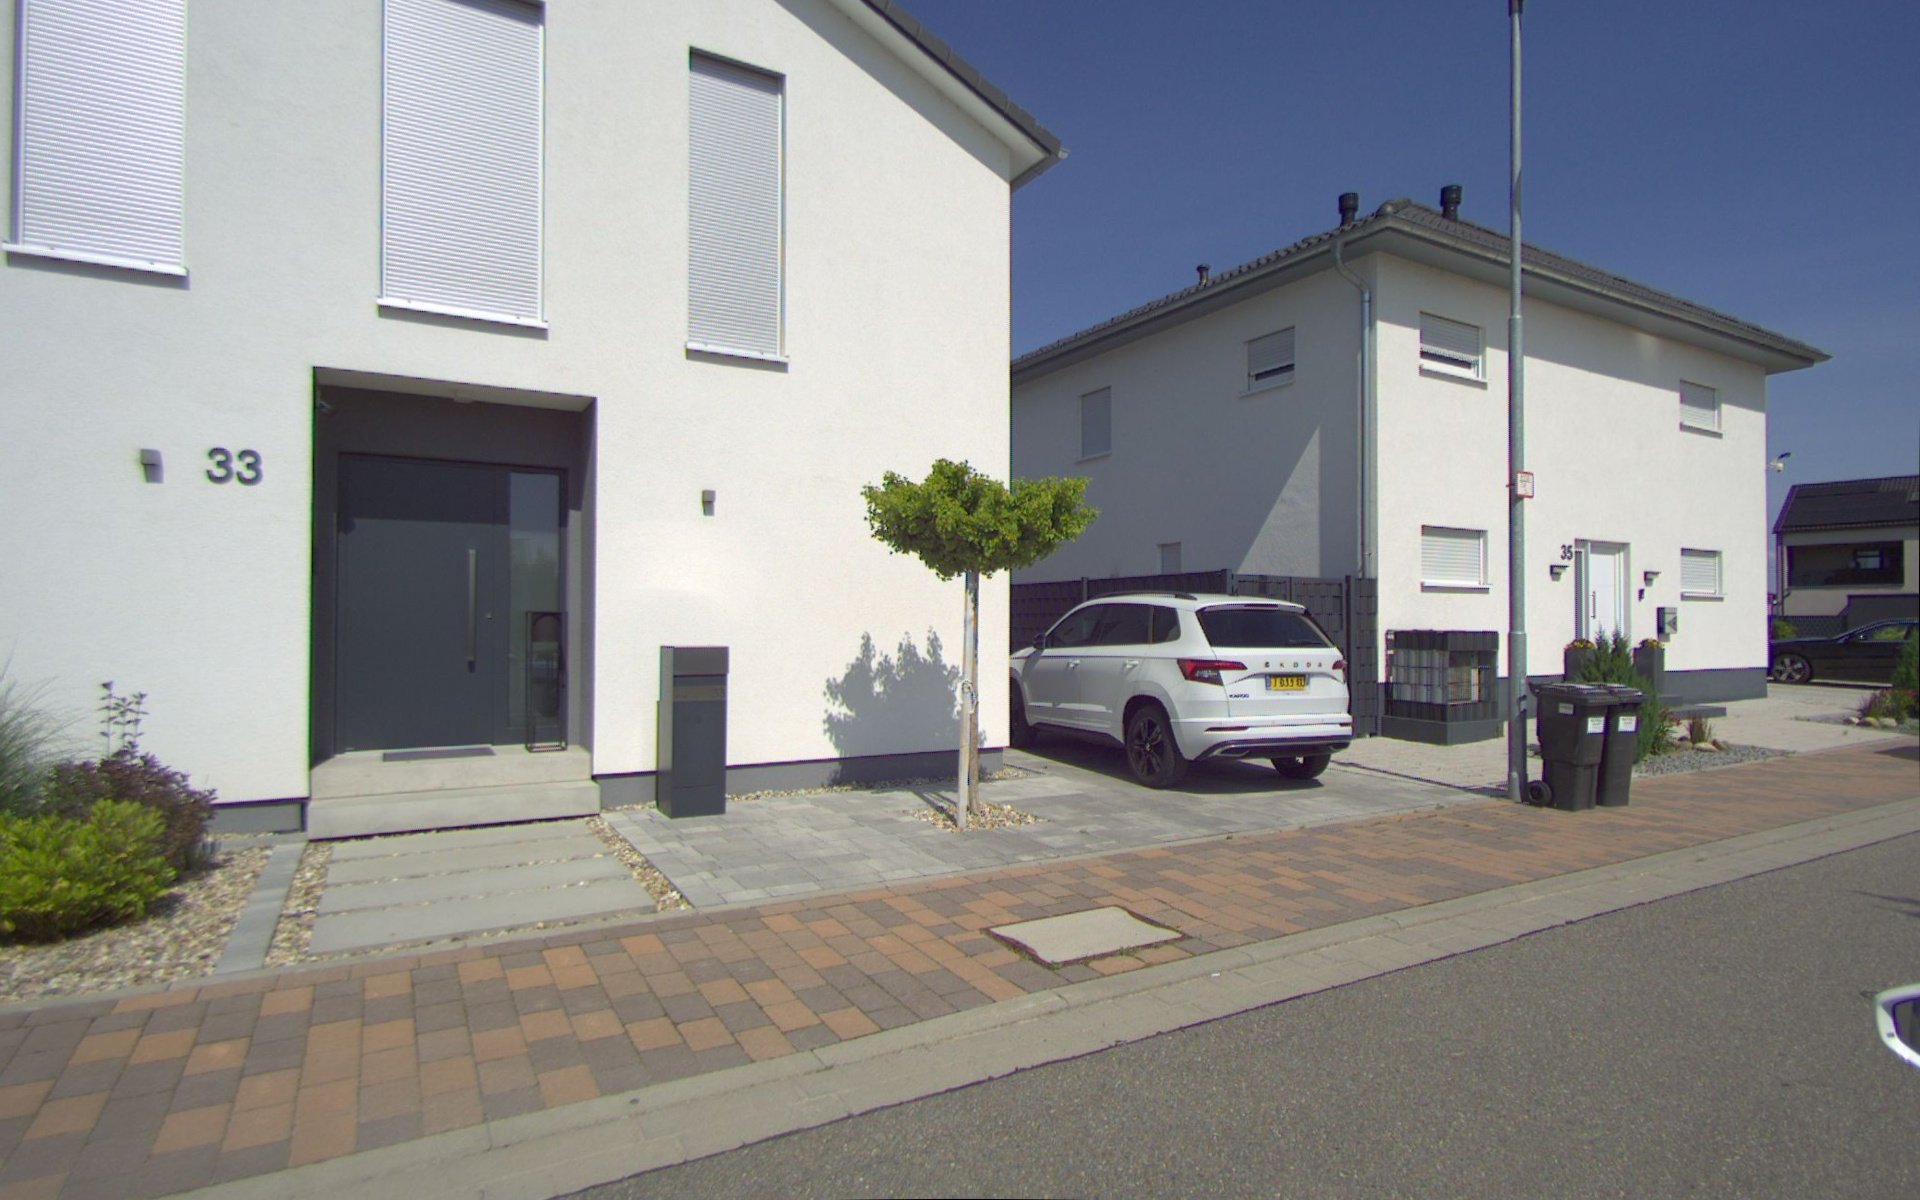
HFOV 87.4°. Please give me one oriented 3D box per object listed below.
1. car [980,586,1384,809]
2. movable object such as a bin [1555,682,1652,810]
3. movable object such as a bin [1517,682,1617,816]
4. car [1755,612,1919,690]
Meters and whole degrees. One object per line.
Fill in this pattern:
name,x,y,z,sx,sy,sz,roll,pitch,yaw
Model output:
car,1.828,0.735,9.574,1.769,1.641,3.944,1,0,-24
movable object such as a bin,5.131,1.140,8.010,0.525,0.938,0.483,1,-1,-33
movable object such as a bin,4.667,1.123,7.729,0.525,0.938,0.483,1,-1,-33
car,18.917,1.017,20.237,1.737,1.471,4.350,1,0,-43
